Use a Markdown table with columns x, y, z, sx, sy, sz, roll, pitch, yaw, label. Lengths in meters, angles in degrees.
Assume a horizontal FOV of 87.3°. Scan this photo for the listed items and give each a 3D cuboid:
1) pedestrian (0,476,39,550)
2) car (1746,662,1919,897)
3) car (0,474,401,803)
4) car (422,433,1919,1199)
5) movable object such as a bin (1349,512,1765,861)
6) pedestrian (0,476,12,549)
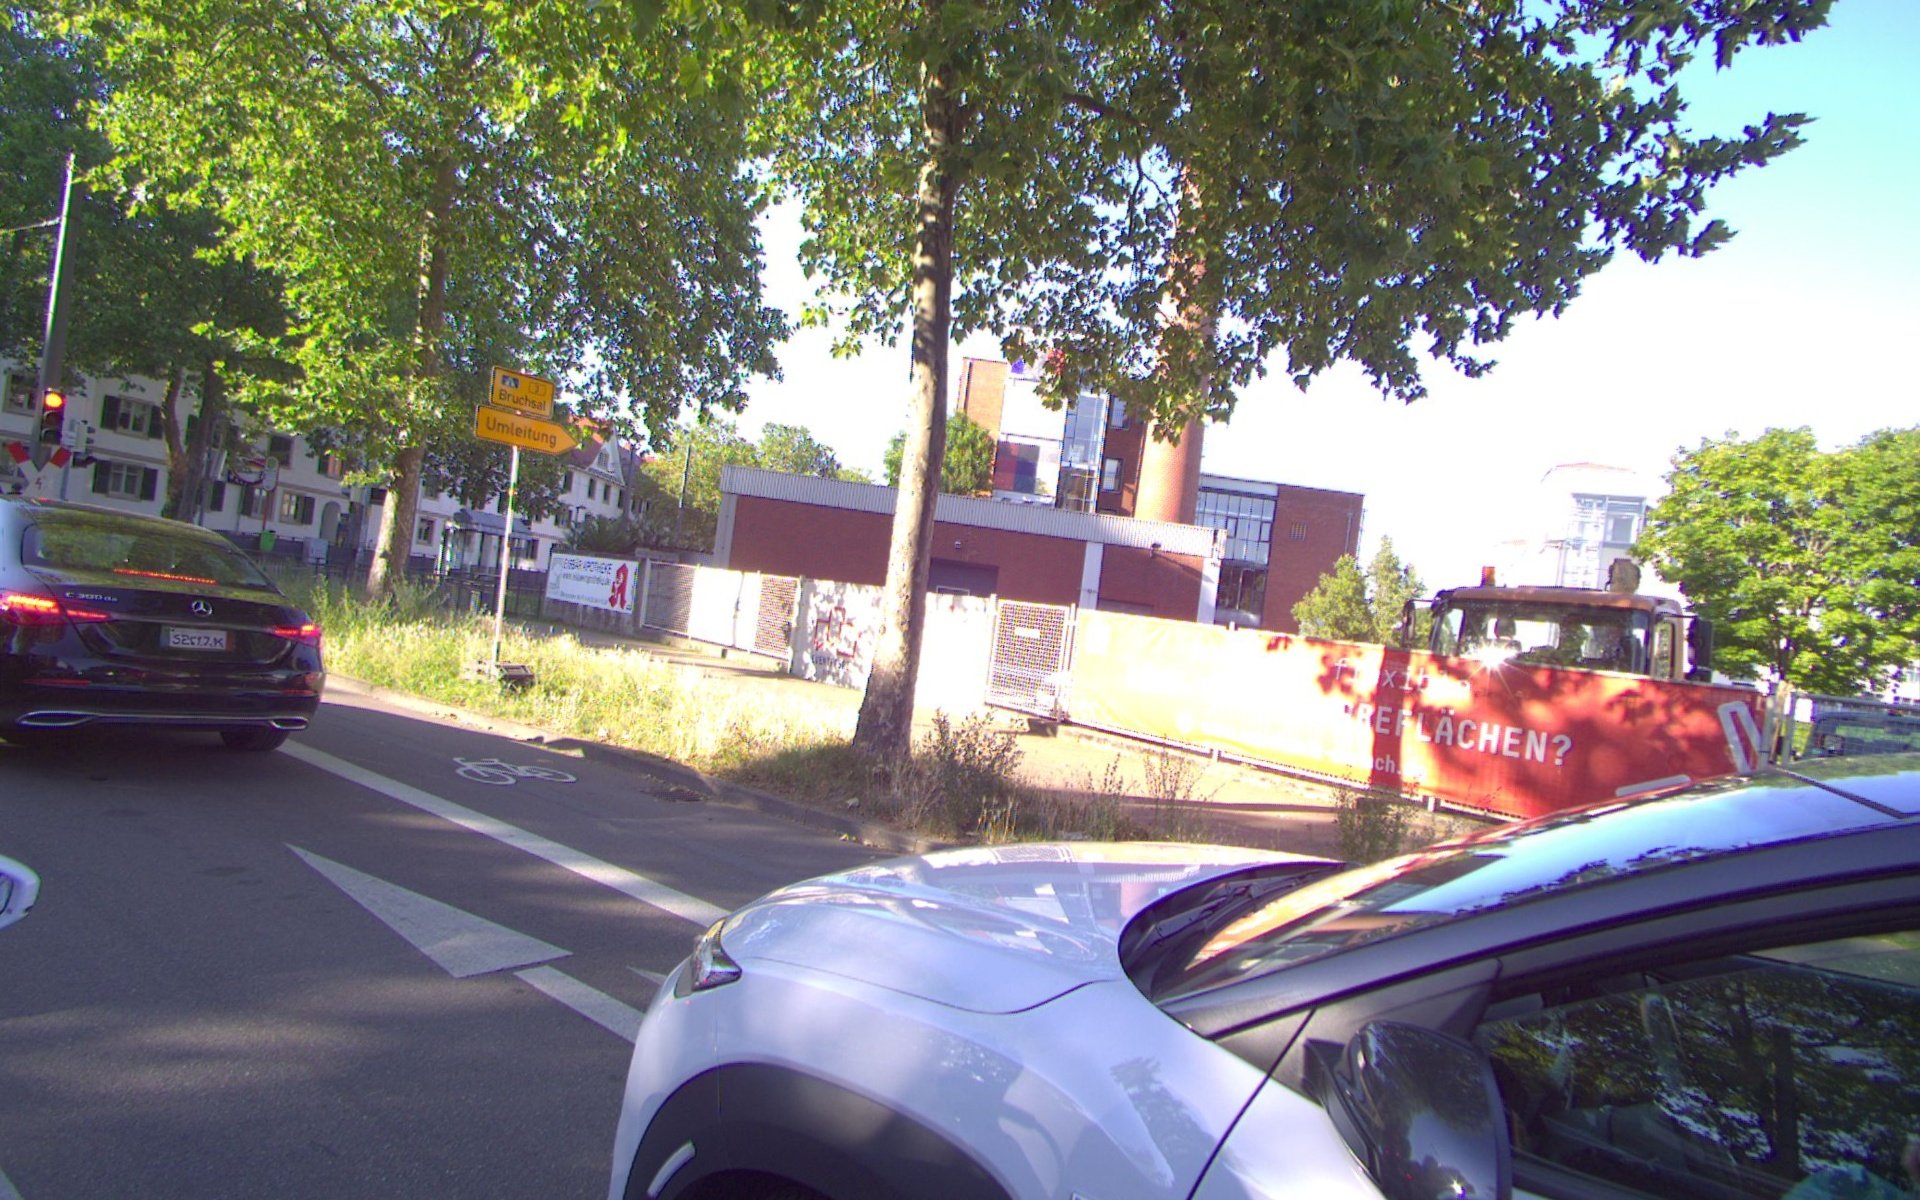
| x | y | z | sx | sy | sz | roll | pitch | yaw | label |
| --- | --- | --- | --- | --- | --- | --- | --- | --- | --- |
| -26.522 | -2.432 | 28.133 | 0.825 | 1.940 | 0.707 | 7 | -1 | 28 | pedestrian |
| 9.573 | 1.824 | 10.152 | 2.016 | 1.849 | 4.583 | 6 | -3 | 44 | car |
| -5.912 | 0.028 | 6.663 | 4.308 | 1.508 | 1.893 | 9 | -1 | 32 | car |
| 1.277 | 0.874 | 1.413 | 3.901 | 1.616 | 1.893 | 9 | -1 | 33 | car |
| 7.644 | 1.034 | 12.409 | 3.172 | 3.084 | 6.266 | 6 | -2 | 41 | movable object such as a bin |
| -26.120 | -2.397 | 26.913 | 0.825 | 1.940 | 0.707 | 7 | -1 | 28 | pedestrian |
